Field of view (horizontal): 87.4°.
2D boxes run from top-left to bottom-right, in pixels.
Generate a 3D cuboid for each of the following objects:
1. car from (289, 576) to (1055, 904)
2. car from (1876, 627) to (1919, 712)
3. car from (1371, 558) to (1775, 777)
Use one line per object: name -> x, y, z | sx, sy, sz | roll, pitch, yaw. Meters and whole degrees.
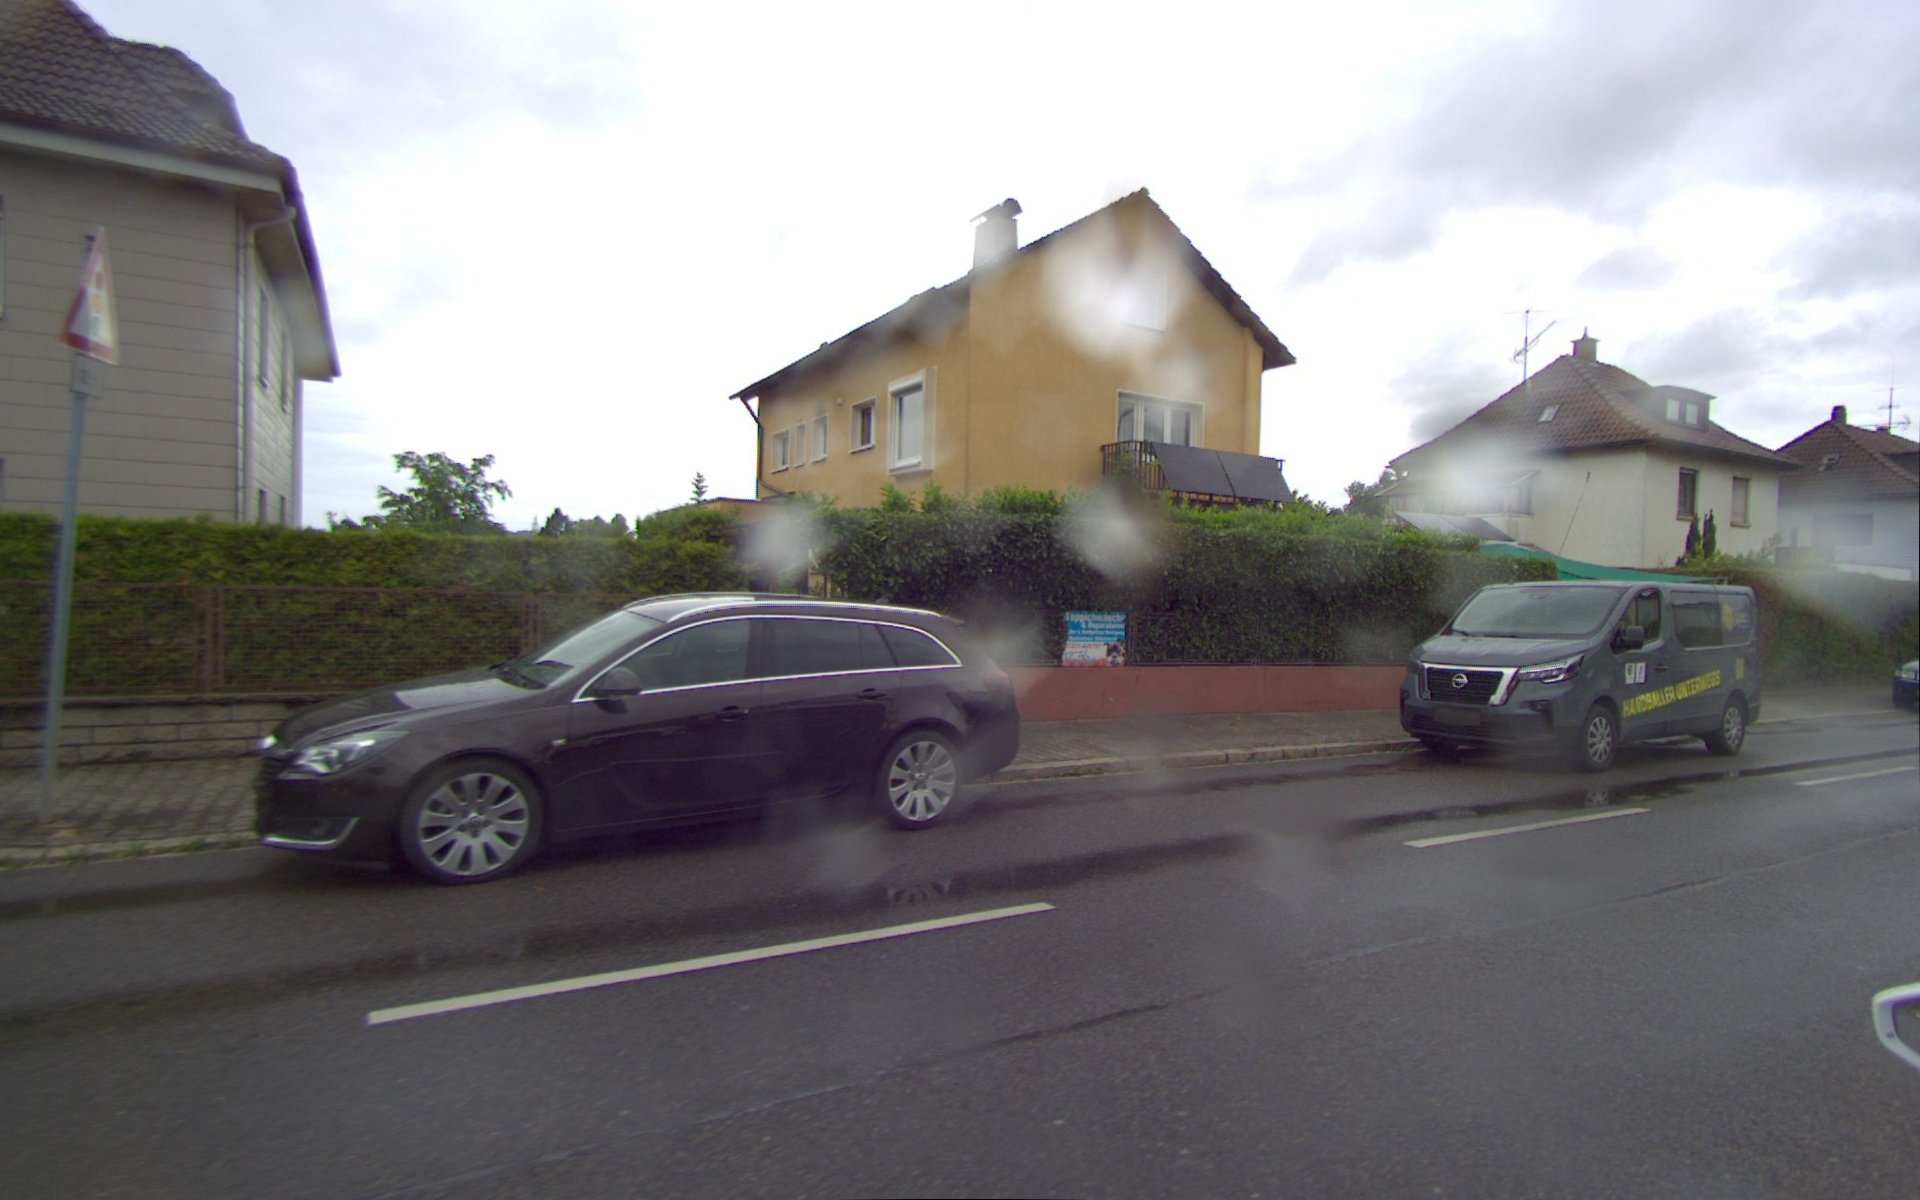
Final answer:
car -> -1.690, 0.705, 6.650 | 4.478, 1.537, 1.740 | 2, 0, -32
car -> 19.827, 1.374, 19.566 | 4.237, 1.553, 1.748 | 2, 0, -31
car -> 7.117, 0.678, 11.480 | 5.032, 2.029, 1.902 | 2, 0, -33
